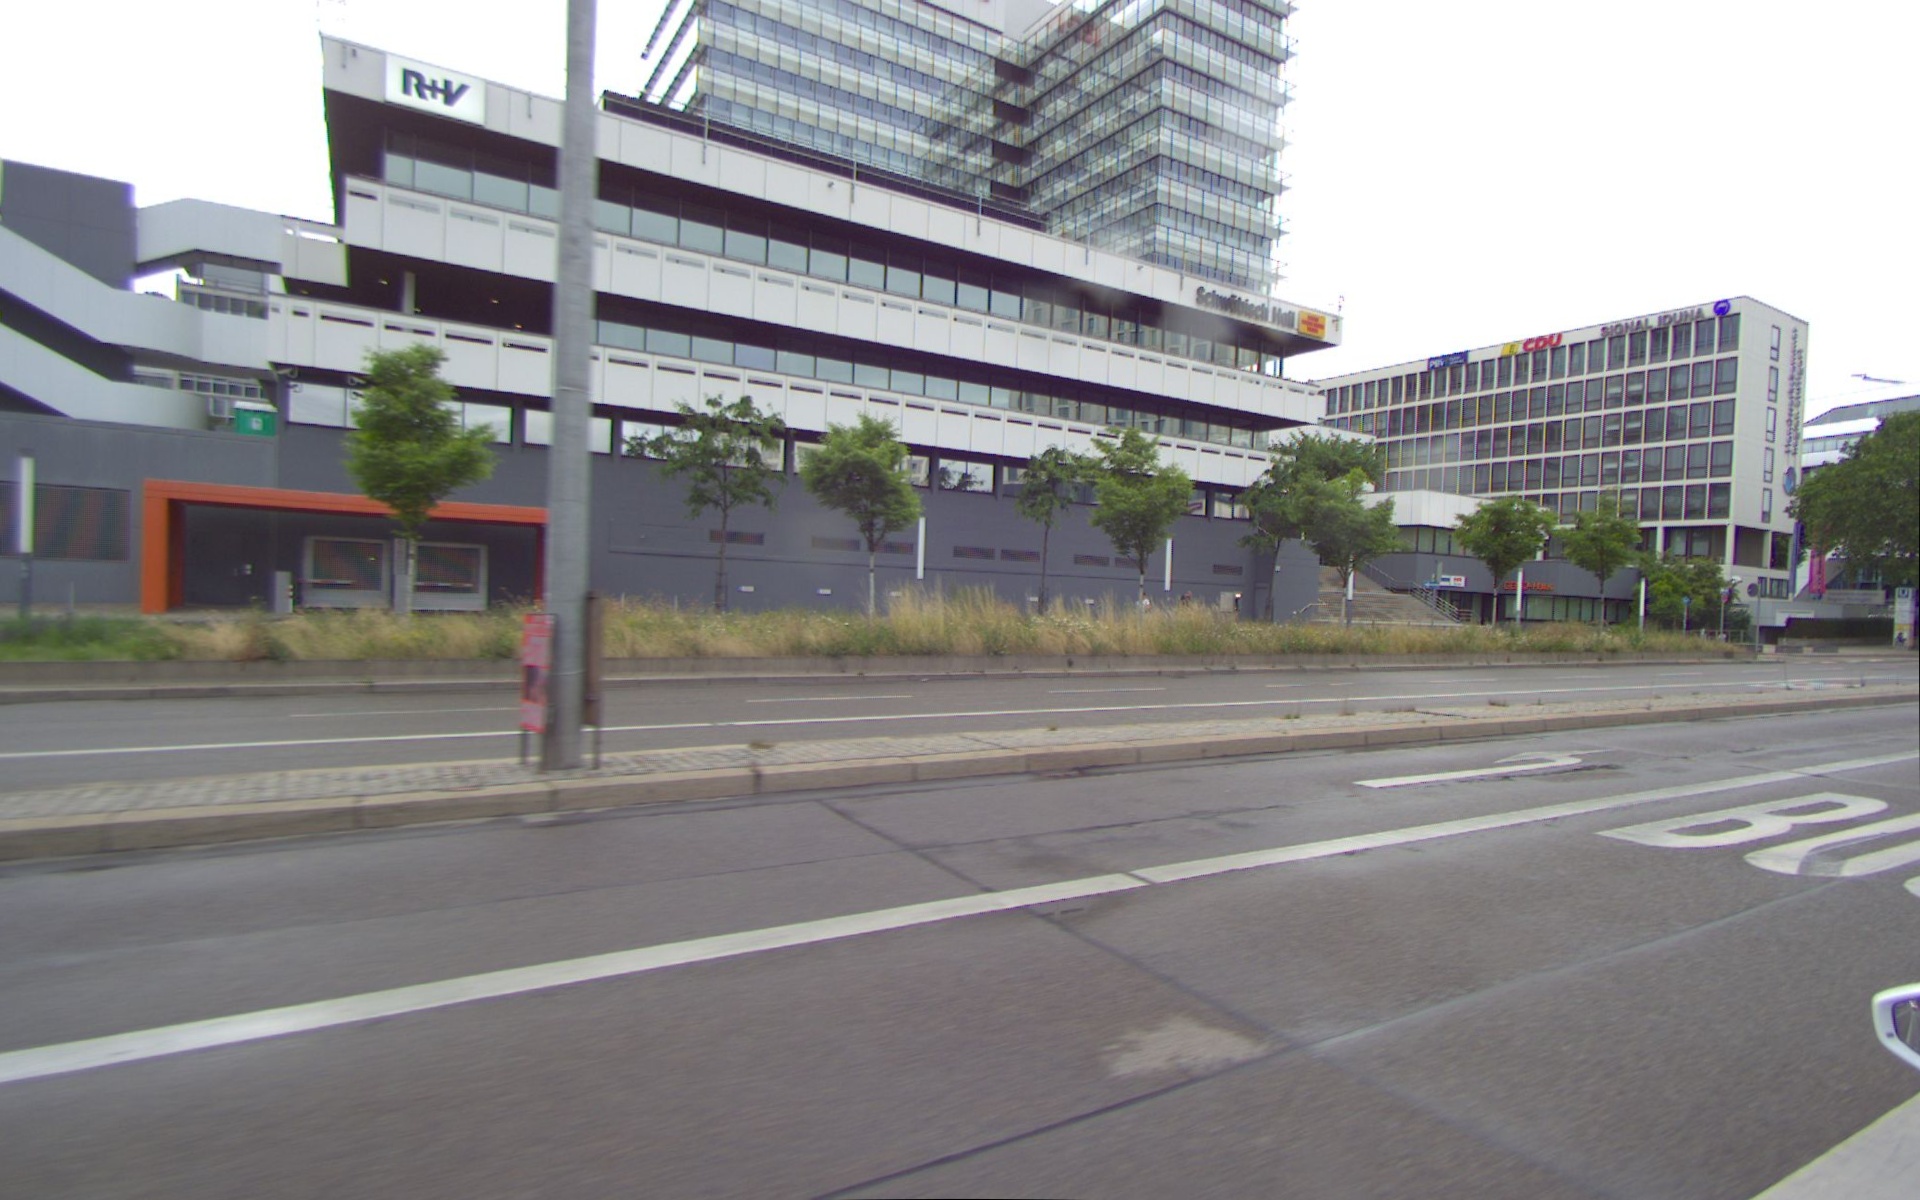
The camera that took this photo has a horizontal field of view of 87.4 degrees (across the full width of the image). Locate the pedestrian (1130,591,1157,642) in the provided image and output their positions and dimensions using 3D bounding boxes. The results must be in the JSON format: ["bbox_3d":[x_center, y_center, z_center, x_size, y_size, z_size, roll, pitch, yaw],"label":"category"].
[{"bbox_3d":[6.682,0.601,36.563,0.621,1.831,0.626,3,0,-30],"label":"pedestrian"}]

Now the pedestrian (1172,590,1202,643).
[{"bbox_3d":[8.044,0.591,35.588,0.621,1.831,0.780,3,0,-30],"label":"pedestrian"}]
